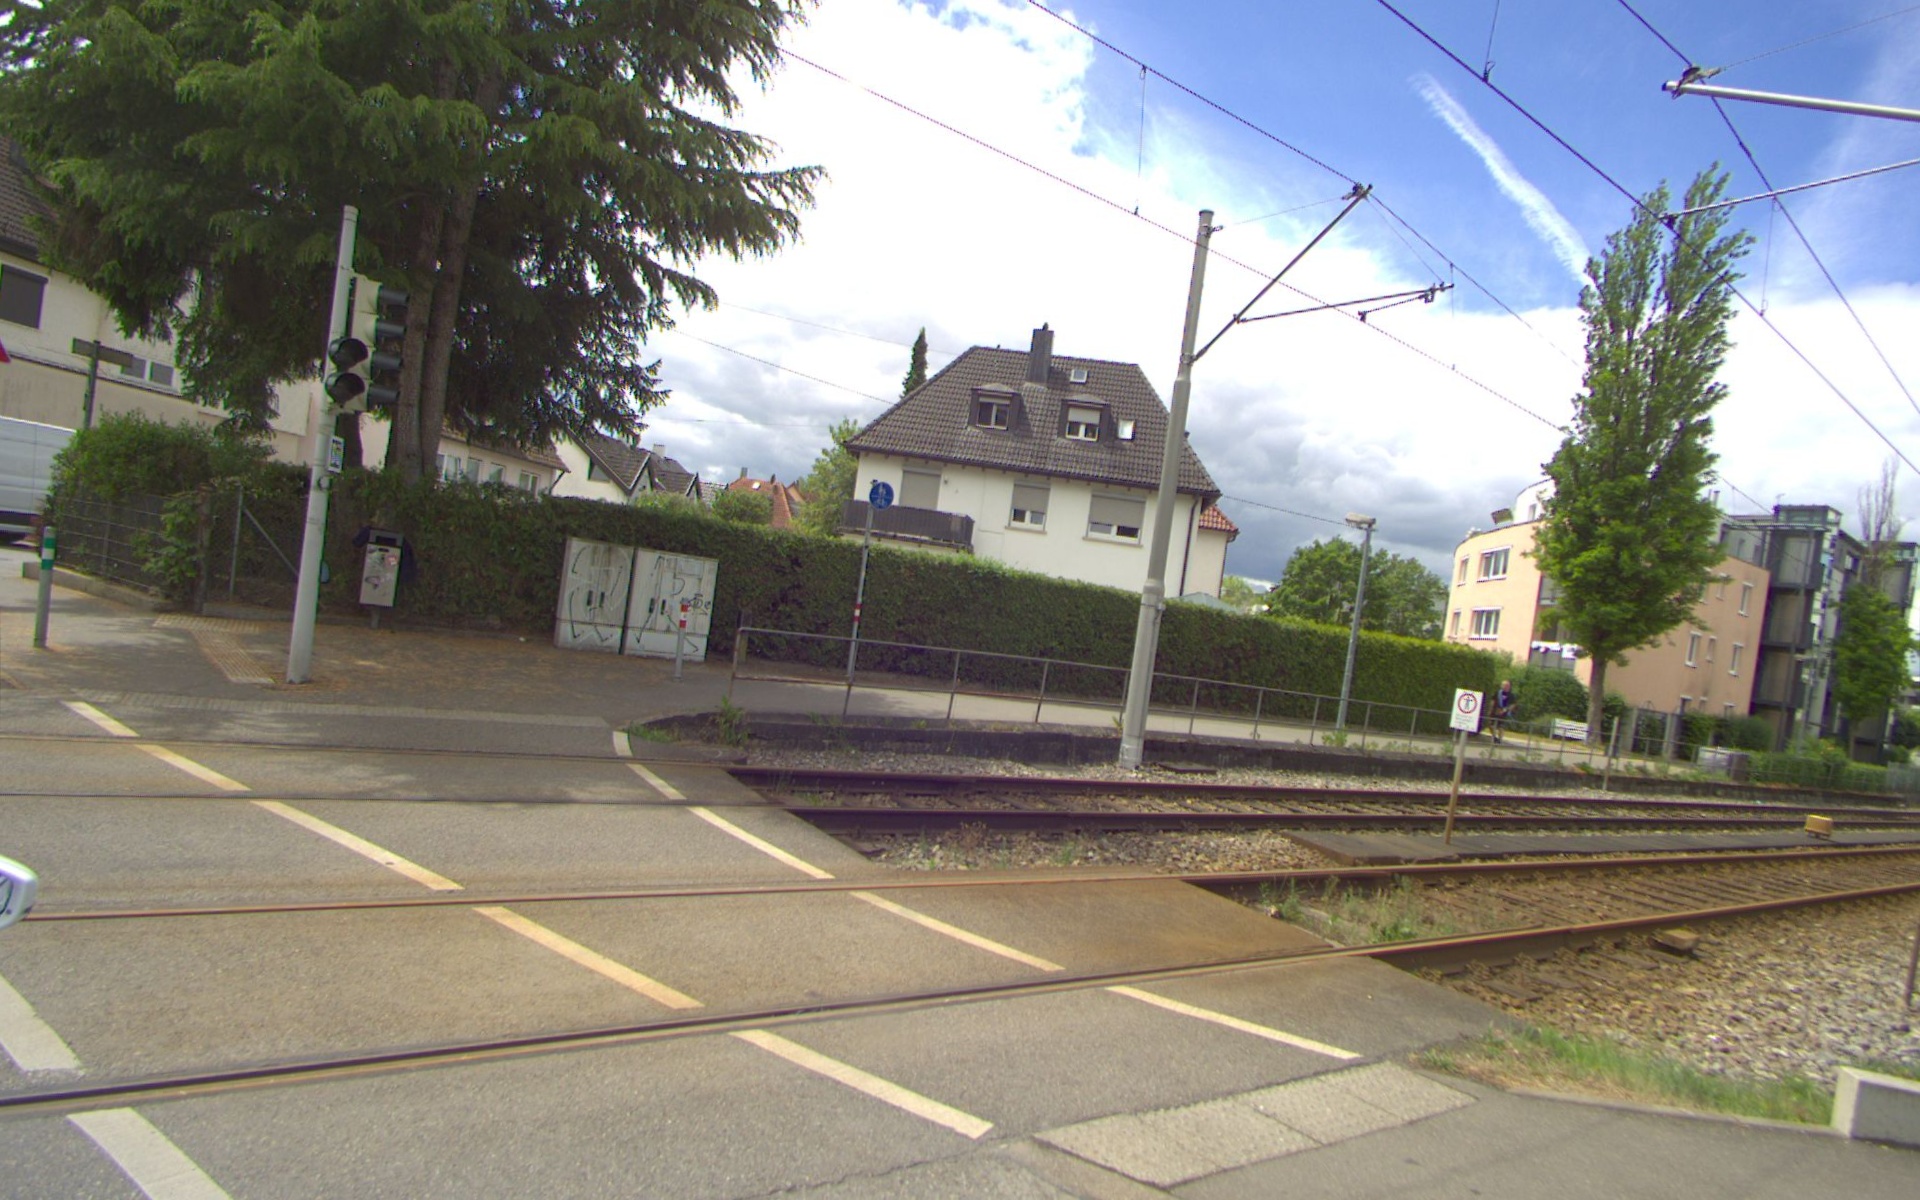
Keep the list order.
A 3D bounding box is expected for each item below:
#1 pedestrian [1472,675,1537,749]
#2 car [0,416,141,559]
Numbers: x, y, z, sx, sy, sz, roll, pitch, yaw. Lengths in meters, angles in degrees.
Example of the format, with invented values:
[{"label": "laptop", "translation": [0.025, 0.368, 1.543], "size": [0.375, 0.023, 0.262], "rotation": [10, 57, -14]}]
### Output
[{"label": "pedestrian", "translation": [13.843, 2.837, 25.577], "size": [0.910, 1.708, 0.925], "rotation": [7, 1, -31]}, {"label": "car", "translation": [-20.130, -2.496, 19.697], "size": [1.963, 2.613, 6.016], "rotation": [9, 0, 19]}]
